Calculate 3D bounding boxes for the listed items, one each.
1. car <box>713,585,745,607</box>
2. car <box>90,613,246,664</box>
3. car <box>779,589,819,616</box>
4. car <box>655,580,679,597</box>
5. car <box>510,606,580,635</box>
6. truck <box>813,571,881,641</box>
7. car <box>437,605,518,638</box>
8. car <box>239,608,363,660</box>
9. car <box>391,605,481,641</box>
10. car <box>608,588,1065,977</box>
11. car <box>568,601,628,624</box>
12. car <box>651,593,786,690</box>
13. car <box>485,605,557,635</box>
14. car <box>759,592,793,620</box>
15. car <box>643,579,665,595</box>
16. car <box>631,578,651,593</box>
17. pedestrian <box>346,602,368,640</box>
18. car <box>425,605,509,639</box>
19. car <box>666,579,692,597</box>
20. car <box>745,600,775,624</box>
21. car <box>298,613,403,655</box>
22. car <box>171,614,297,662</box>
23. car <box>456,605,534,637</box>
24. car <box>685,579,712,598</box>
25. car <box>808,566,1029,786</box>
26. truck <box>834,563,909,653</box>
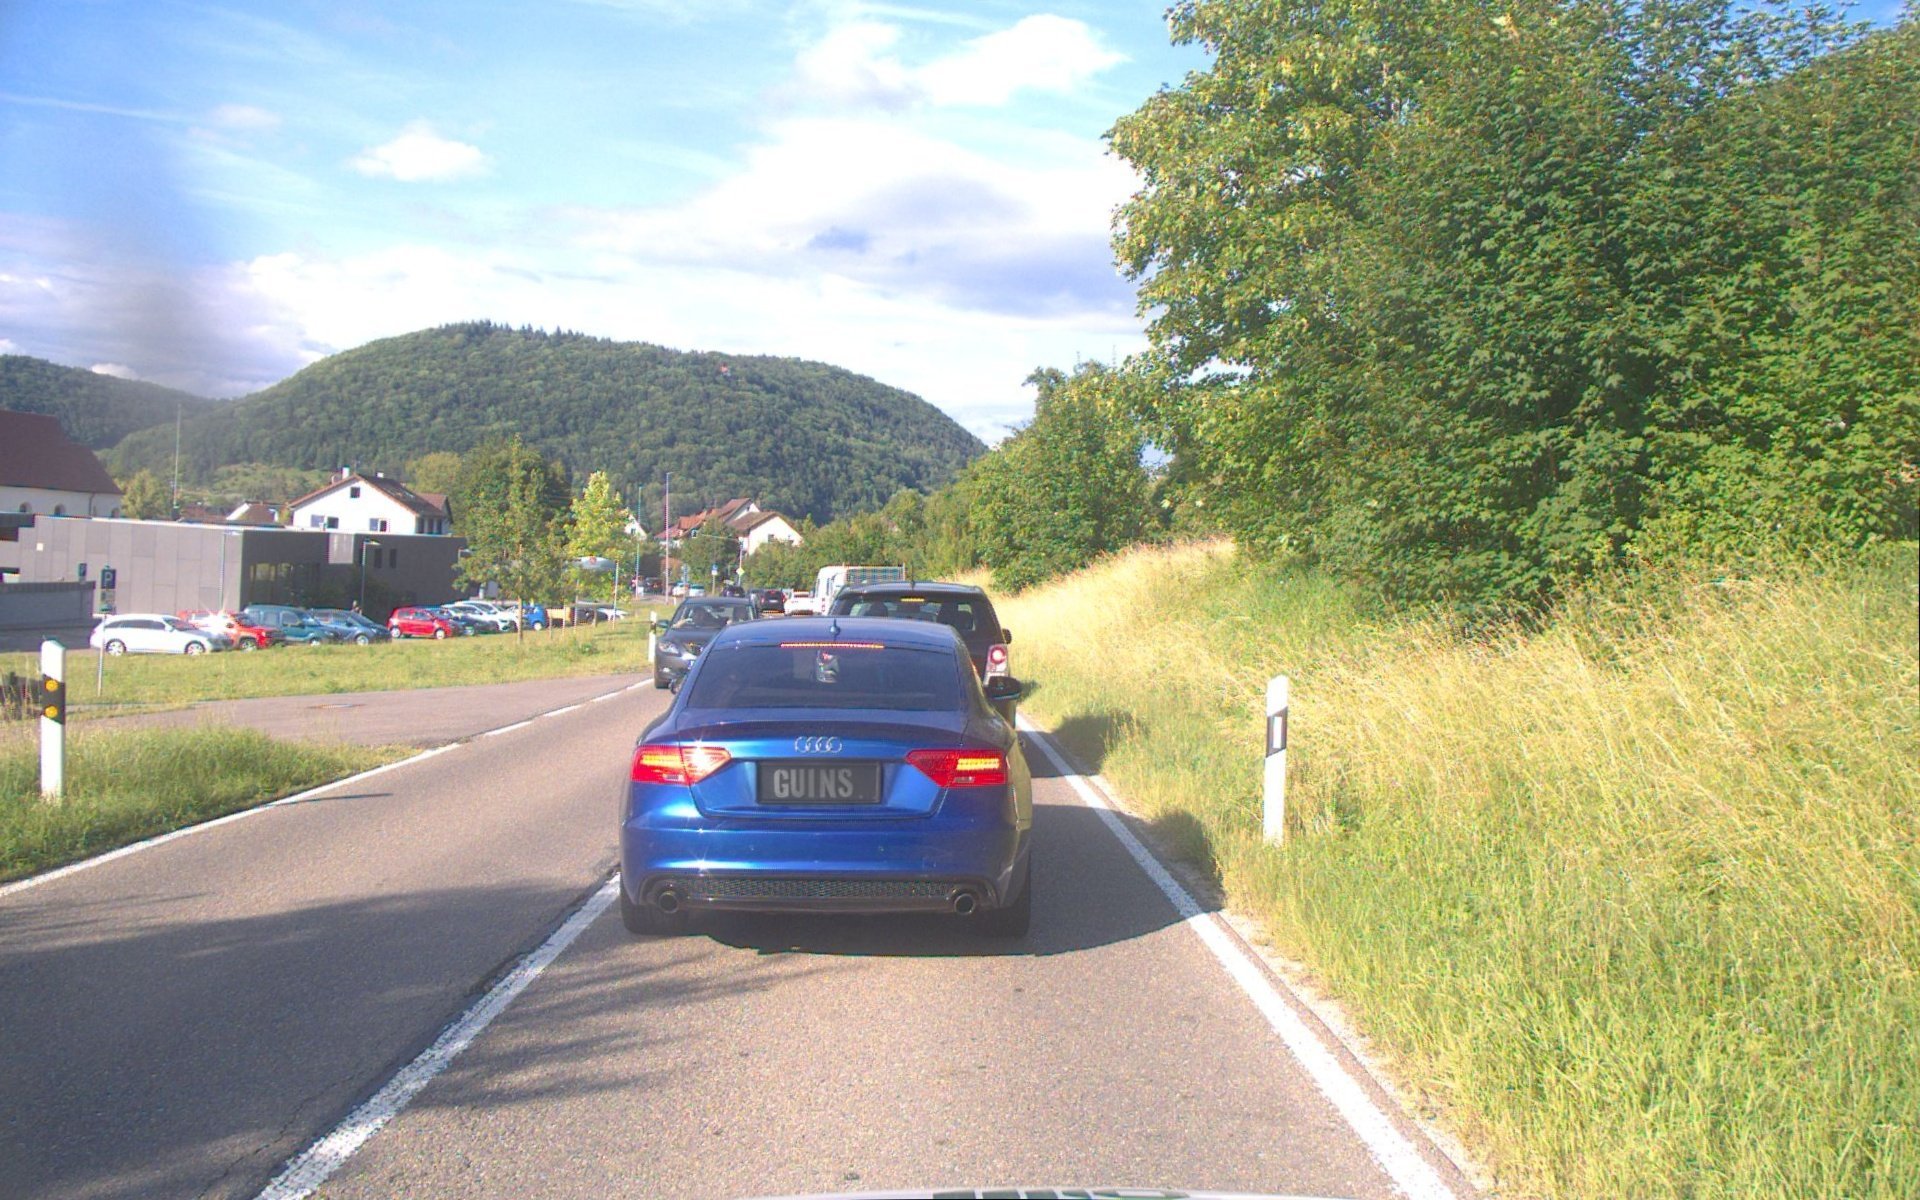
[{"bbox_3d":[-19.263,-0.306,137.568,1.819,1.742,3.976,1,0,-20],"label":"car"},{"bbox_3d":[-28.666,1.400,59.980,4.637,1.741,1.999,1,0,-3],"label":"car"},{"bbox_3d":[-9.232,0.144,94.538,1.813,1.508,3.988,1,0,-12],"label":"car"},{"bbox_3d":[-31.327,-1.220,176.645,1.818,1.742,3.976,1,0,-20],"label":"car"},{"bbox_3d":[-25.984,1.258,103.590,3.907,1.741,1.999,1,0,-3],"label":"car"},{"bbox_3d":[-4.572,0.239,65.907,2.188,2.615,6.695,1,0,-8],"label":"truck"},{"bbox_3d":[-26.779,1.181,91.832,3.907,1.741,1.999,1,0,-3],"label":"car"},{"bbox_3d":[-27.382,1.400,68.819,4.318,2.043,1.999,1,0,-3],"label":"car"},{"bbox_3d":[-26.480,1.141,83.632,3.907,1.741,1.999,1,0,-3],"label":"car"},{"bbox_3d":[-0.464,0.707,8.232,1.718,1.455,3.846,1,0,0],"label":"car"},{"bbox_3d":[-25.837,0.889,118.159,3.907,1.606,1.751,1,0,-3],"label":"car"},{"bbox_3d":[-3.890,0.642,27.228,1.669,1.455,4.049,1,0,-1],"label":"car"},{"bbox_3d":[-26.759,1.231,100.904,3.907,1.741,1.999,1,0,-3],"label":"car"},{"bbox_3d":[-11.926,0.374,107.137,1.813,1.742,3.988,1,0,-12],"label":"car"},{"bbox_3d":[-34.666,-1.501,187.252,1.818,1.742,3.978,1,0,-19],"label":"car"},{"bbox_3d":[-37.844,-1.737,195.926,1.817,1.742,3.979,1,0,-19],"label":"car"},{"bbox_3d":[-32.642,1.128,89.584,0.808,2.049,0.973,1,-1,-1],"label":"pedestrian"},{"bbox_3d":[-26.256,1.170,88.184,3.907,1.741,1.999,1,0,-3],"label":"car"},{"bbox_3d":[-28.359,-1.190,166.856,1.820,1.742,3.974,1,0,-22],"label":"car"},{"bbox_3d":[-14.975,0.905,123.720,1.814,1.742,3.986,1,0,-13],"label":"car"},{"bbox_3d":[-26.989,1.501,73.328,3.907,1.741,1.999,1,0,-3],"label":"car"},{"bbox_3d":[-27.604,1.434,63.005,3.907,1.741,1.999,1,0,-3],"label":"car"},{"bbox_3d":[-26.729,1.199,95.117,3.907,1.741,1.999,1,0,-3],"label":"car"},{"bbox_3d":[-25.005,-1.120,158.052,1.818,1.742,3.976,1,0,-20],"label":"car"},{"bbox_3d":[-0.325,0.610,14.971,1.718,1.710,3.846,1,0,0],"label":"car"},{"bbox_3d":[-2.756,0.255,52.036,2.185,2.615,6.100,1,0,-3],"label":"truck"}]
